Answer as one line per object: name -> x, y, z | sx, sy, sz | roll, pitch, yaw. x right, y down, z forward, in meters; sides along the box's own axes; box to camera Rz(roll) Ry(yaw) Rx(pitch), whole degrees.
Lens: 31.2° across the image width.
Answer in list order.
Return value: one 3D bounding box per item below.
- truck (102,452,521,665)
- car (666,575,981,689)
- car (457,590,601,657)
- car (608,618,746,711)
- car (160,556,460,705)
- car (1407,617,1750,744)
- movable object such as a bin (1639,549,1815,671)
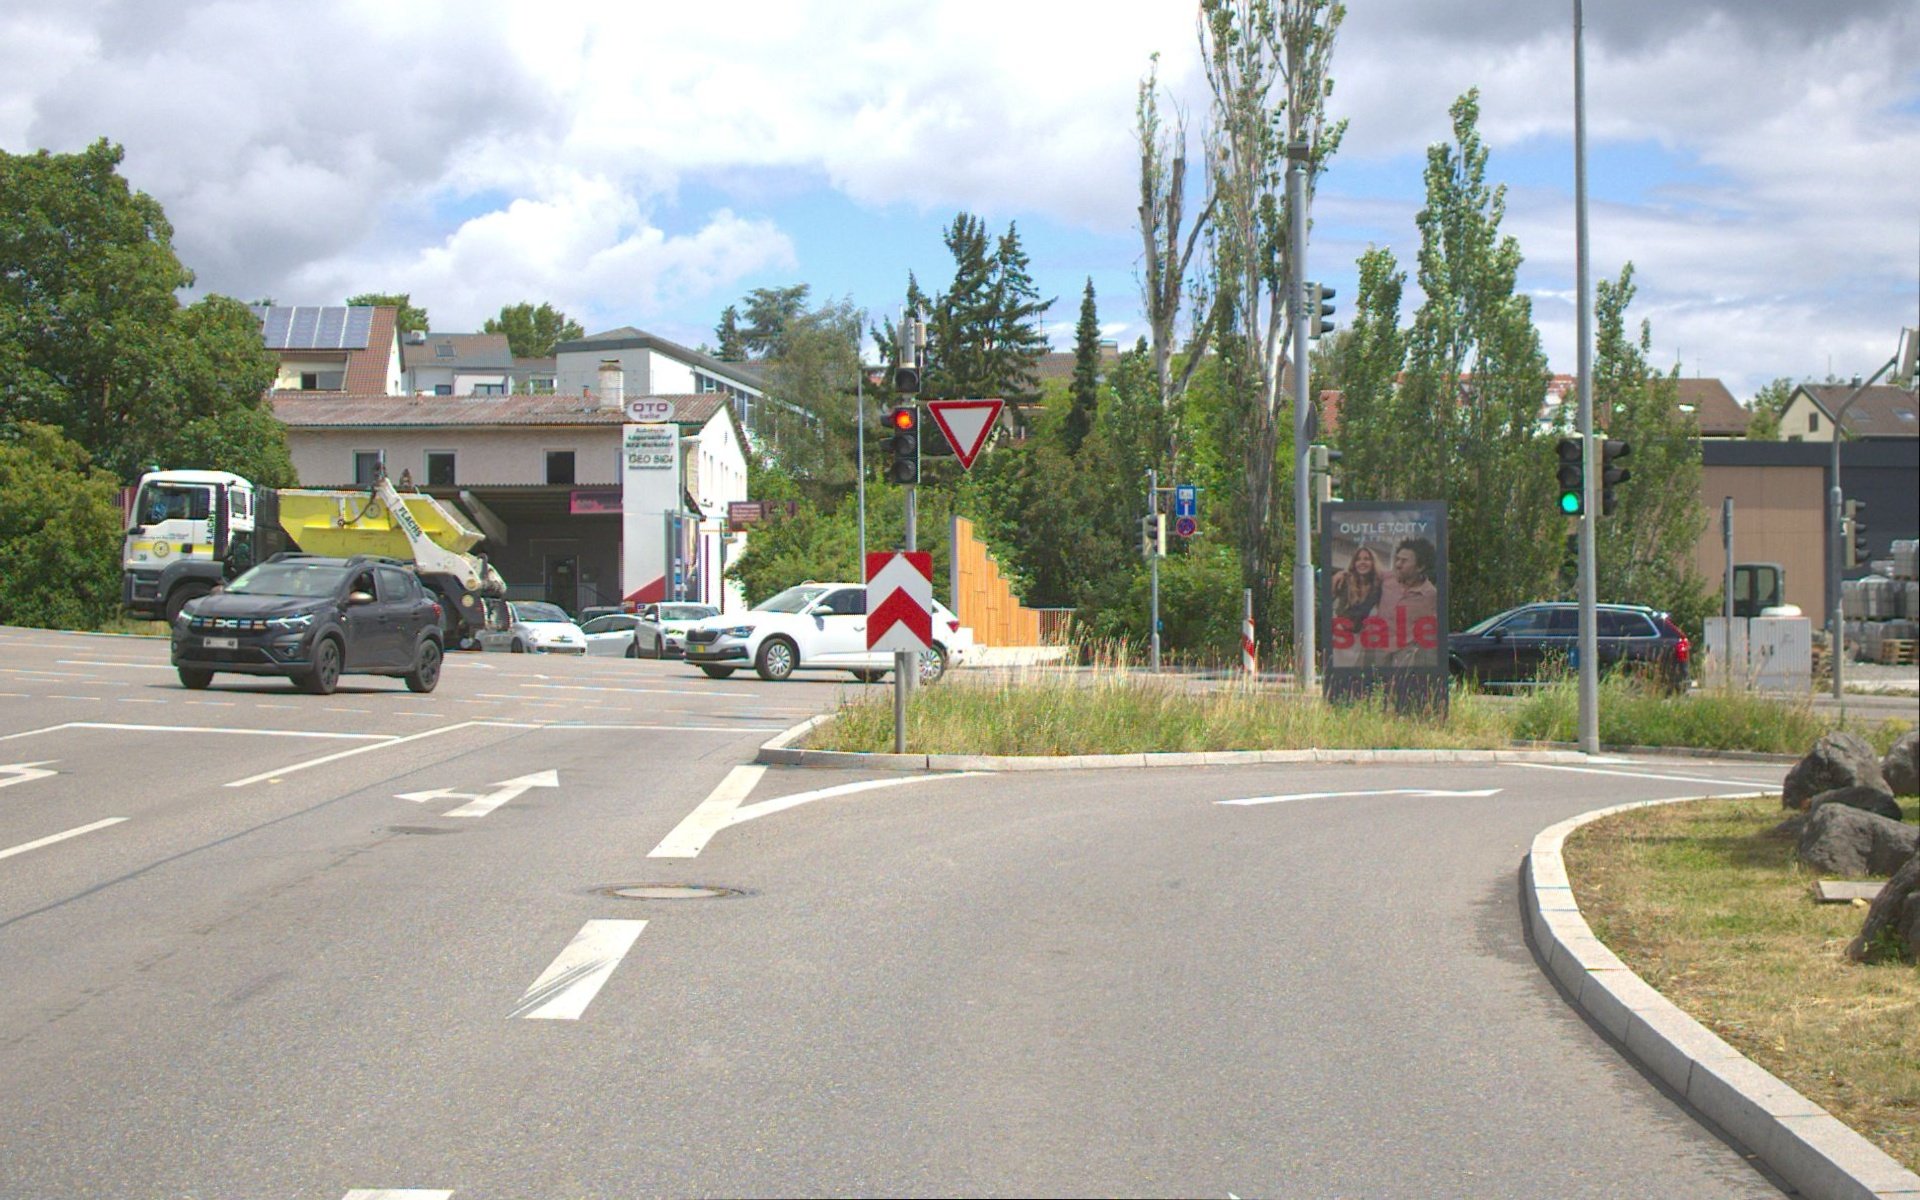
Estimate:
truck -> -11.792, -0.737, 62.867 | 6.945, 3.567, 2.846 | -2, 0, 3
car -> -1.990, 0.476, 50.732 | 4.364, 1.464, 1.622 | 3, 1, -34
car -> -9.859, 0.524, 78.454 | 1.691, 1.395, 4.000 | 2, 0, -32
car -> -6.500, 1.465, 78.643 | 1.993, 2.007, 4.001 | -2, 0, -22
car -> -7.321, 0.307, 39.124 | 1.786, 1.572, 4.162 | 1, 1, 14
car -> 9.699, 1.247, 54.180 | 4.966, 1.684, 1.911 | 3, 0, 0
movable object such as a bin -> 17.000, 0.219, 76.148 | 3.407, 2.529, 2.150 | 2, 0, 22
